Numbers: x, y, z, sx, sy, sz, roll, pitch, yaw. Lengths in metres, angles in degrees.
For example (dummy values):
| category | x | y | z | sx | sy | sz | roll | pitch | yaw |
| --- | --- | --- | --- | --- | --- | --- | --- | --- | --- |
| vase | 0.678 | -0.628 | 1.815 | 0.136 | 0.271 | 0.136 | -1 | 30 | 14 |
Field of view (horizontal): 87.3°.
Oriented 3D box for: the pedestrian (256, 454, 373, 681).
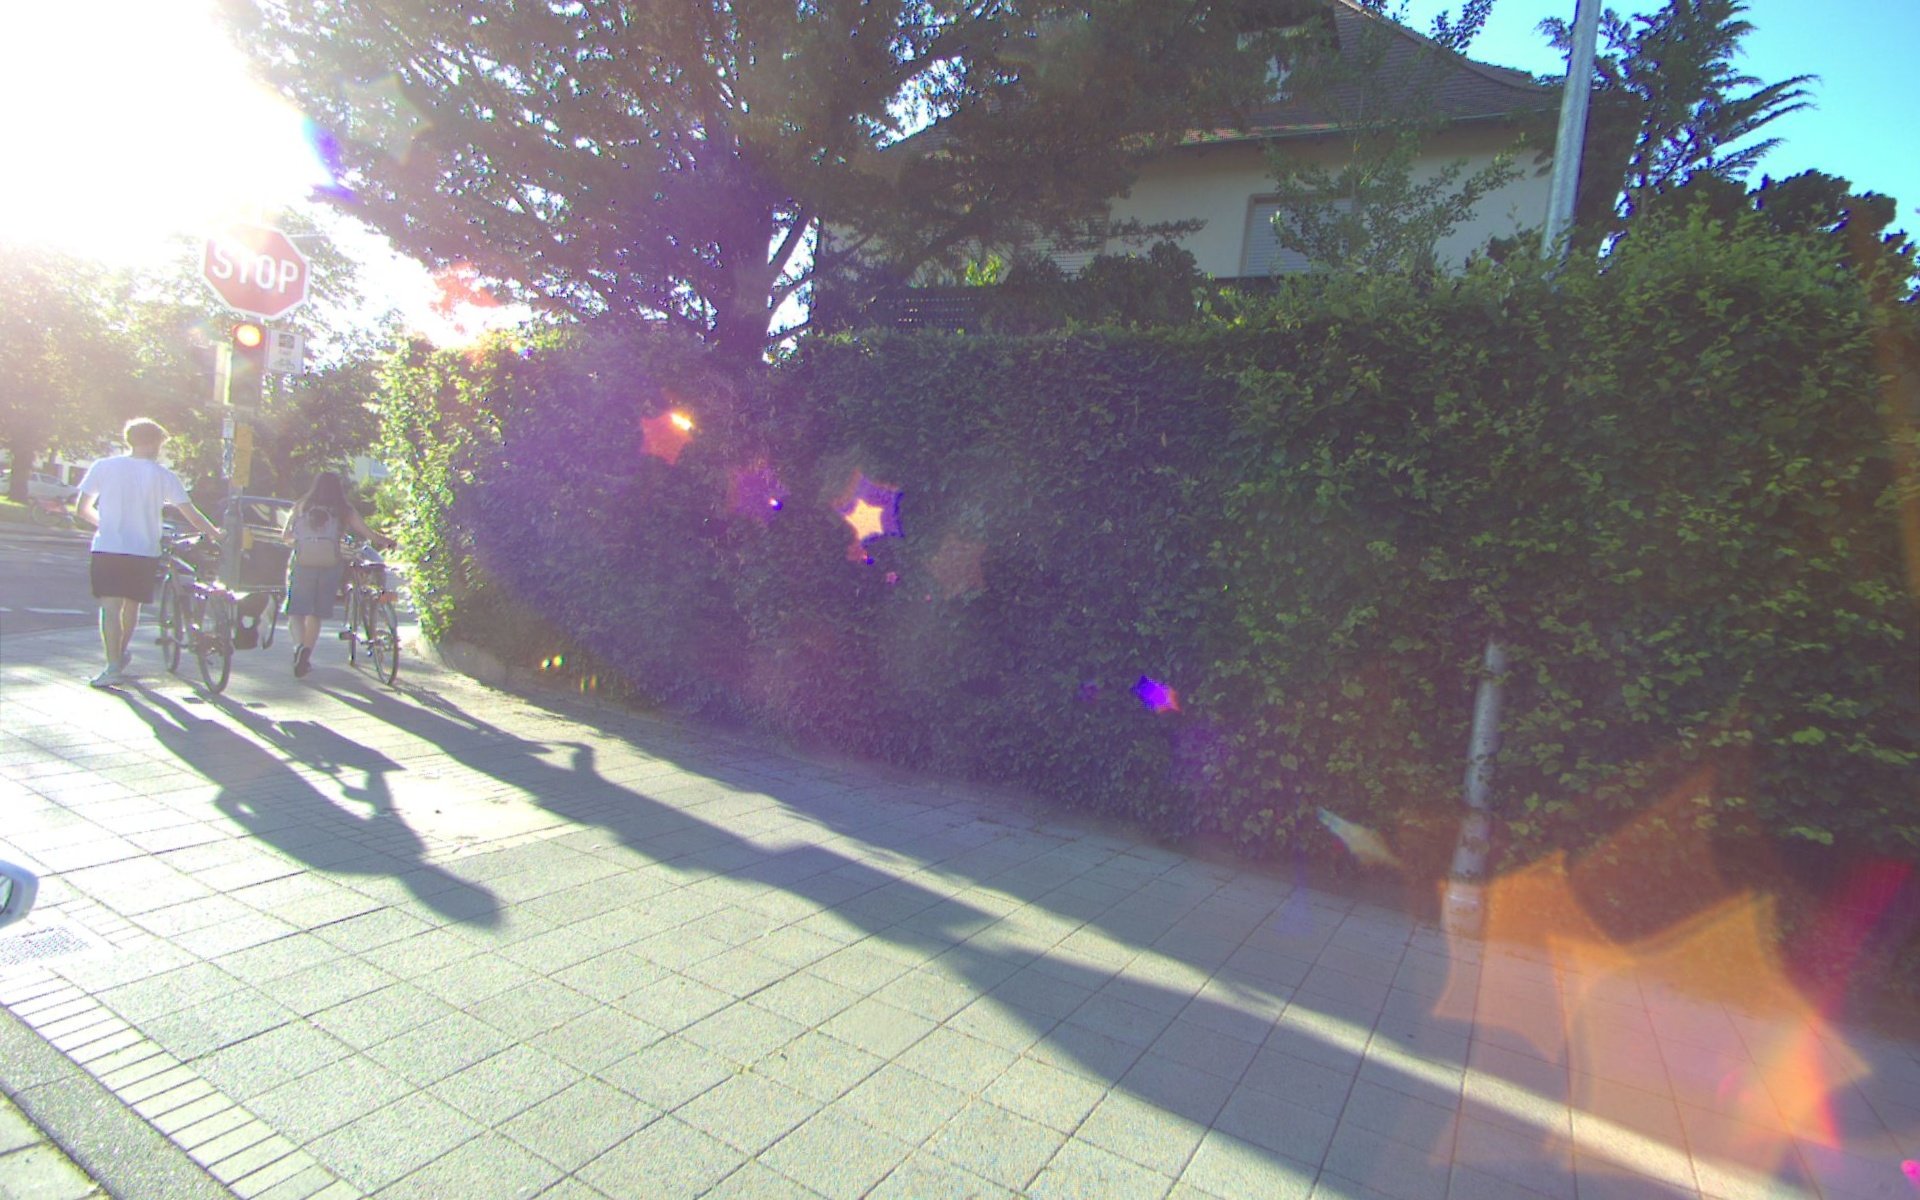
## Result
| category | x | y | z | sx | sy | sz | roll | pitch | yaw |
| --- | --- | --- | --- | --- | --- | --- | --- | --- | --- |
| pedestrian | -5.204 | -0.262 | 8.102 | 0.665 | 1.733 | 0.615 | 2 | 6 | -40 |

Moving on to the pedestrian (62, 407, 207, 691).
| category | x | y | z | sx | sy | sz | roll | pitch | yaw |
| --- | --- | --- | --- | --- | --- | --- | --- | --- | --- |
| pedestrian | -5.927 | -0.366 | 7.209 | 0.870 | 1.892 | 0.668 | 10 | 6 | 43 |

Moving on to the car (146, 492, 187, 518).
| category | x | y | z | sx | sy | sz | roll | pitch | yaw |
| --- | --- | --- | --- | --- | --- | --- | --- | --- | --- |
| car | -55.234 | -6.590 | 70.060 | 1.651 | 1.435 | 3.514 | 7 | 0 | -30 |

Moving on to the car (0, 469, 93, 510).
| category | x | y | z | sx | sy | sz | roll | pitch | yaw |
| --- | --- | --- | --- | --- | --- | --- | --- | --- | --- |
| car | -46.363 | -5.586 | 50.549 | 1.569 | 1.445 | 3.854 | 7 | 0 | 26 |

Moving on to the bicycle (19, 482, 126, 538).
| category | x | y | z | sx | sy | sz | roll | pitch | yaw |
| --- | --- | --- | --- | --- | --- | --- | --- | --- | --- |
| bicycle | -23.184 | -2.331 | 26.318 | 0.609 | 1.146 | 1.956 | 8 | 1 | 32 |

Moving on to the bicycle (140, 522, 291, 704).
| category | x | y | z | sx | sy | sz | roll | pitch | yaw |
| --- | --- | --- | --- | --- | --- | --- | --- | --- | --- |
| bicycle | -5.555 | 0.056 | 7.462 | 1.765 | 1.112 | 0.485 | 9 | 5 | 41 |

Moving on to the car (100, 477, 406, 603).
| category | x | y | z | sx | sy | sz | roll | pitch | yaw |
| --- | --- | --- | --- | --- | --- | --- | --- | --- | --- |
| car | -10.918 | -0.853 | 15.842 | 1.582 | 1.517 | 3.606 | 8 | 1 | 19 |

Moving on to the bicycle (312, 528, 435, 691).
| category | x | y | z | sx | sy | sz | roll | pitch | yaw |
| --- | --- | --- | --- | --- | --- | --- | --- | --- | --- |
| bicycle | -4.907 | 0.047 | 8.368 | 0.485 | 1.158 | 1.578 | 3 | 4 | -43 |
